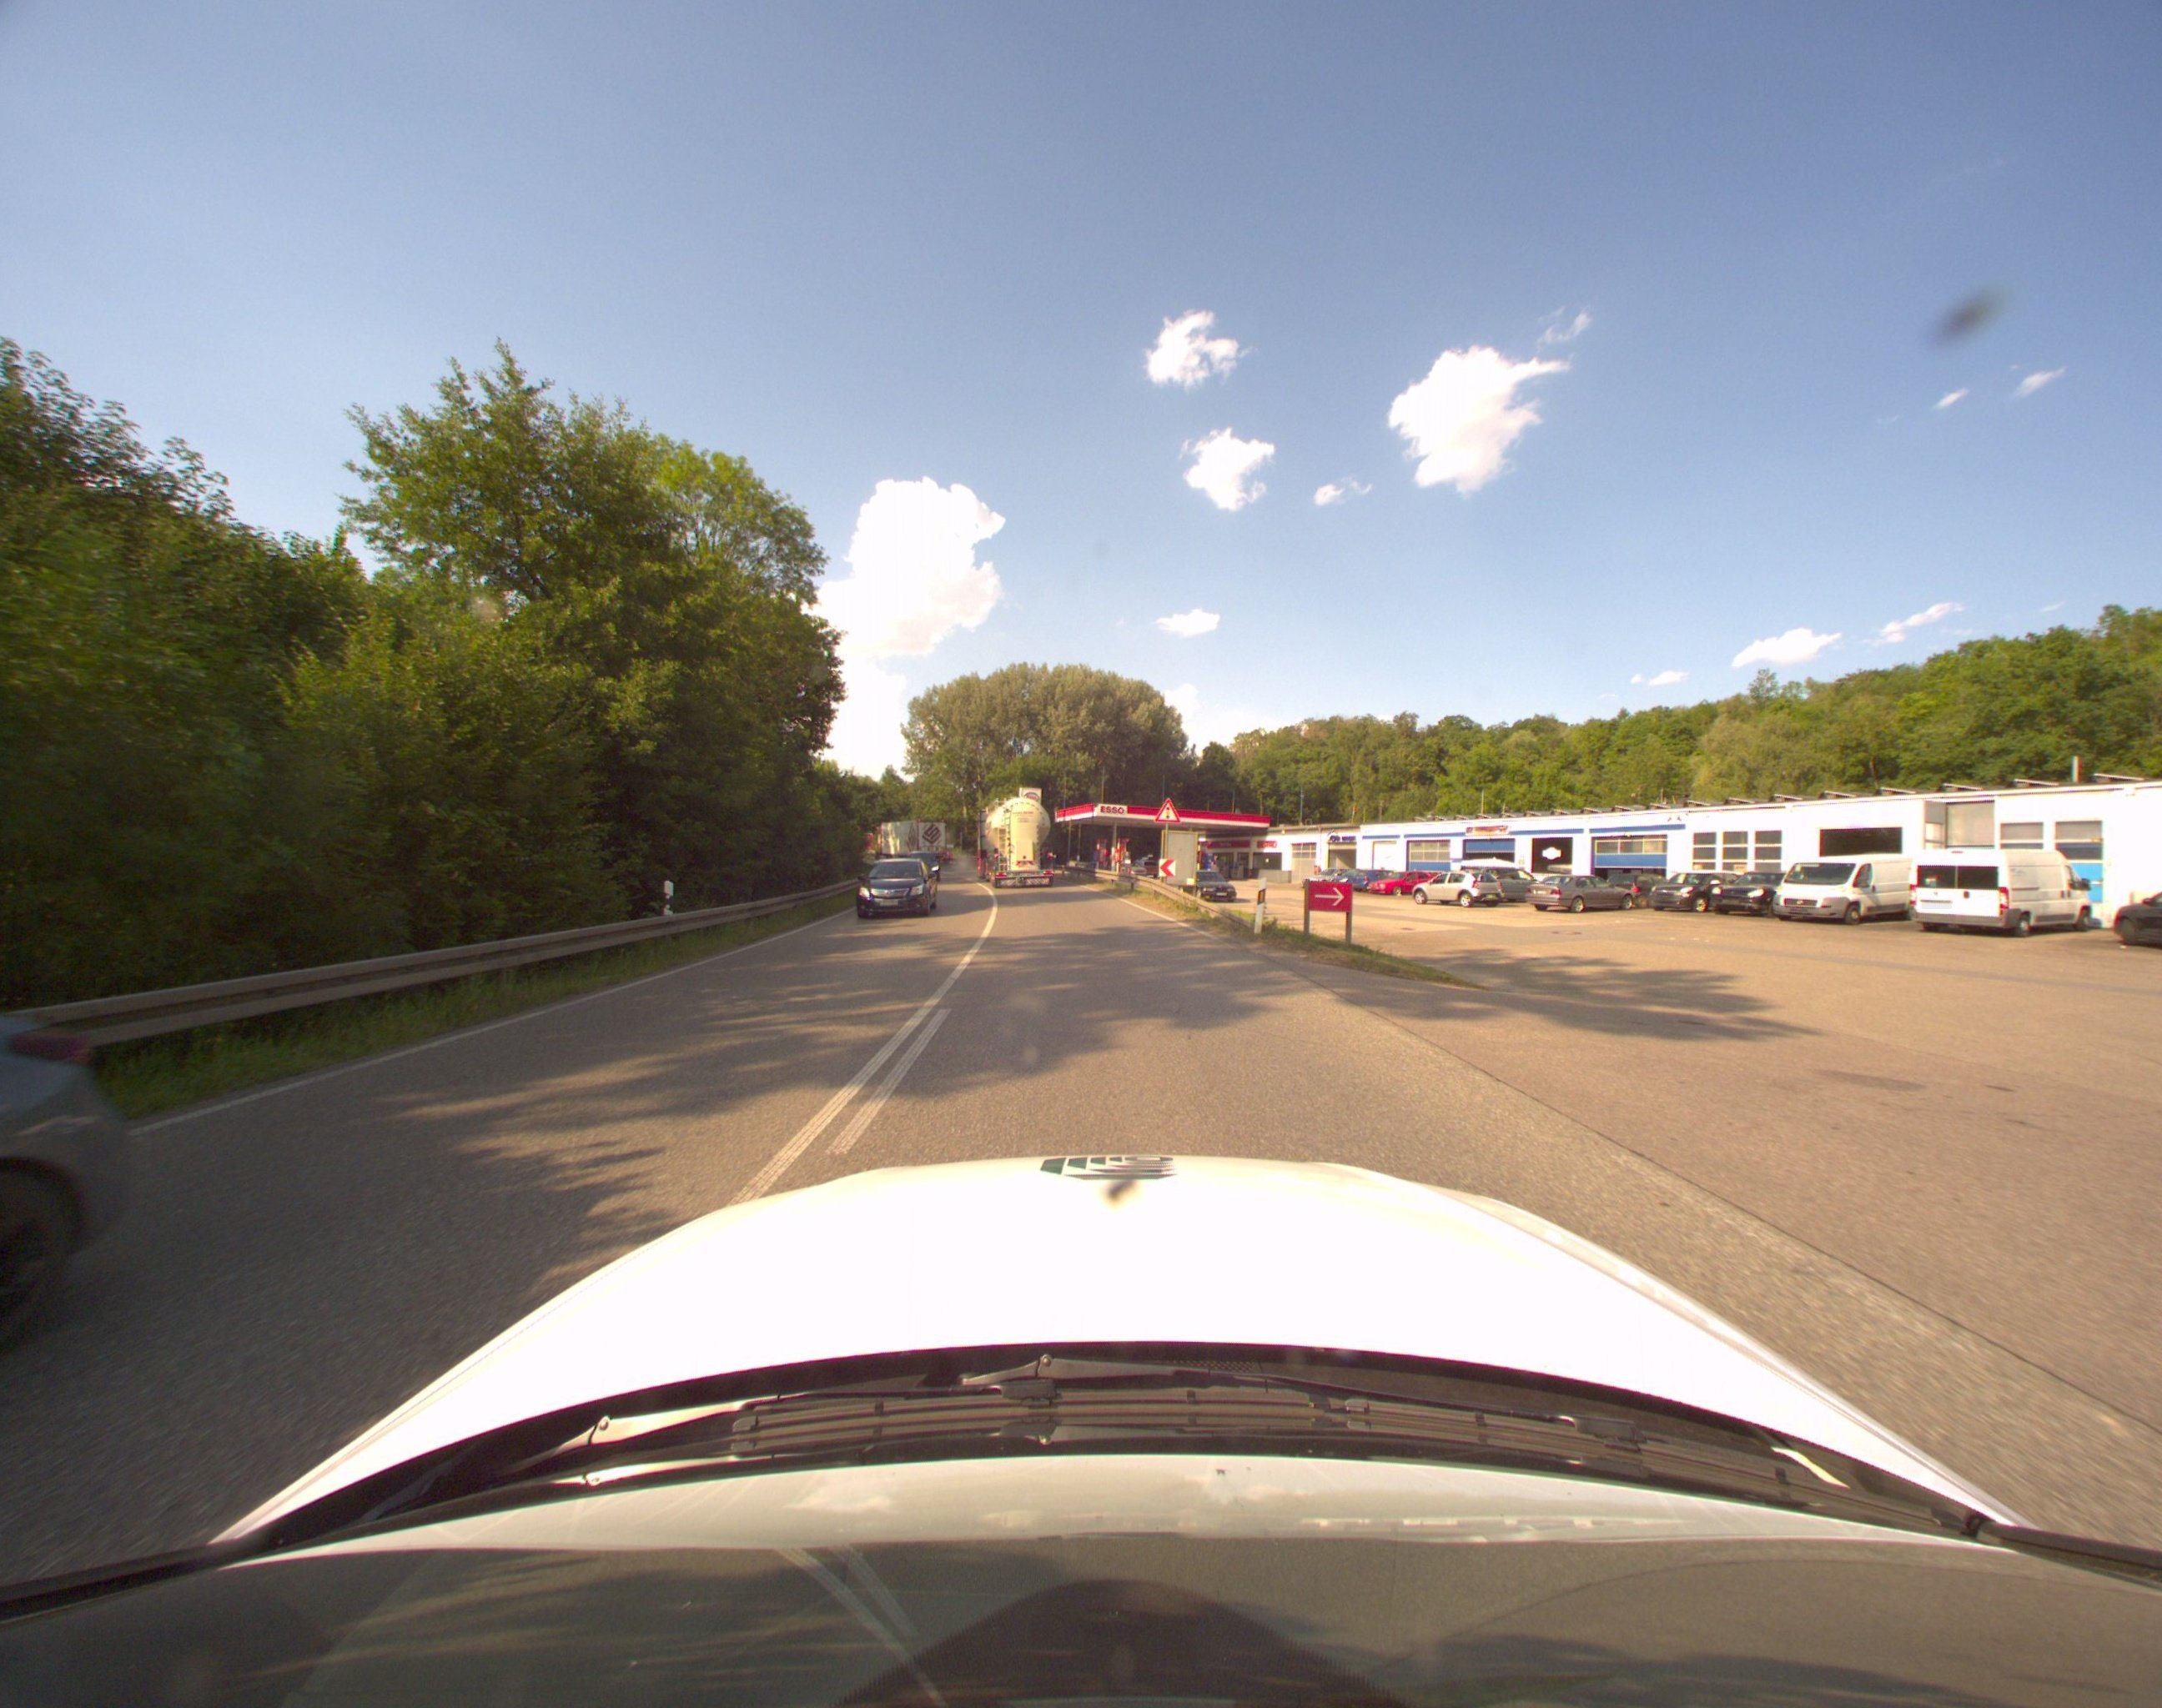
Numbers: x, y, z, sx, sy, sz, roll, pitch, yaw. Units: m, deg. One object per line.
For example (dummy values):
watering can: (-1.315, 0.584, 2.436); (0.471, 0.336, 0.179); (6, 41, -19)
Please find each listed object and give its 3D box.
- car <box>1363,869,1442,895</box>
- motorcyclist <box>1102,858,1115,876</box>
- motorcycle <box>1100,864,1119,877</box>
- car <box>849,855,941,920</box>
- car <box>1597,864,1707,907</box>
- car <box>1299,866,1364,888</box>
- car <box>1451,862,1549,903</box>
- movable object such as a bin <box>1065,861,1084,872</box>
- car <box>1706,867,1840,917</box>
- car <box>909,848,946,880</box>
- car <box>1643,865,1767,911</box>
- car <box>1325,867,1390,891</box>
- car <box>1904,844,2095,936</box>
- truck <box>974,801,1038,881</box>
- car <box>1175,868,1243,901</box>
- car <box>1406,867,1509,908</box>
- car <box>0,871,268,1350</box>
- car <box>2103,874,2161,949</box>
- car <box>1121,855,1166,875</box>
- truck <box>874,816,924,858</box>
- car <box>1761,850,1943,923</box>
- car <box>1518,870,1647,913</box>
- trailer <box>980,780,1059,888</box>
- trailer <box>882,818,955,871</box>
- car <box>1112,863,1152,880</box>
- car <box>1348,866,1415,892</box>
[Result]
car: (18.594, 1.593, 47.142); (4.080, 1.348, 1.882); (0, 0, -20)
motorcyclist: (2.421, 1.143, 71.512); (0.861, 1.605, 0.921); (2, -1, -20)
motorcycle: (2.485, 1.451, 71.282); (0.764, 1.012, 2.325); (2, 0, -20)
car: (-4.901, 0.804, 22.036); (1.848, 1.508, 4.394); (-2, 0, -6)
car: (24.272, 1.300, 34.619); (4.000, 1.610, 1.882); (-1, 0, -20)
car: (16.475, 1.521, 53.561); (3.974, 1.354, 1.763); (0, 0, -24)
car: (20.053, 1.323, 38.957); (4.265, 1.728, 1.878); (-1, 0, -23)
movable object such as a bin: (-0.887, 1.671, 110.298); (1.275, 1.420, 2.531); (5, -2, -34)
car: (25.101, 1.335, 29.560); (4.172, 1.610, 1.912); (-1, 0, -20)
car: (-8.331, 0.514, 44.362); (1.868, 1.589, 4.233); (-2, 0, -10)
car: (24.539, 1.304, 32.050); (4.254, 1.610, 1.882); (-1, 0, -20)
car: (17.339, 1.549, 51.110); (3.561, 1.406, 1.680); (1, 0, -20)
car: (26.854, 0.950, 23.817); (4.927, 2.449, 2.192); (0, 0, -22)
truck: (-4.181, -0.698, 44.278); (2.826, 4.034, 5.870); (-1, 0, -12)
car: (5.797, 1.360, 37.396); (1.824, 1.352, 4.259); (1, 0, -9)
car: (16.643, 1.418, 36.193); (1.798, 1.596, 3.958); (-1, 1, -23)
car: (-4.138, 0.799, 1.338); (1.655, 1.446, 3.921); (-1, 0, 0)
car: (26.239, 1.415, 18.701); (1.918, 1.669, 4.432); (1, 2, 30)
car: (5.580, 0.974, 73.542); (2.099, 1.628, 5.145); (1, 0, -20)
truck: (-18.496, -1.657, 82.564); (3.469, 4.086, 6.433); (0, -1, -27)
car: (26.090, 1.003, 27.572); (5.492, 2.274, 2.280); (0, 0, -20)
car: (19.976, 1.451, 32.450); (4.738, 1.434, 1.943); (-1, 0, -22)
trailer: (-3.135, -0.866, 38.531); (2.886, 4.454, 9.575); (-1, 0, -9)
trailer: (-15.485, -0.744, 76.430); (3.564, 4.513, 12.871); (0, -1, -26)
car: (4.216, 1.442, 68.214); (1.848, 1.319, 4.362); (1, 0, -19)
car: (18.114, 1.517, 49.109); (3.555, 1.445, 1.722); (1, 0, -20)
